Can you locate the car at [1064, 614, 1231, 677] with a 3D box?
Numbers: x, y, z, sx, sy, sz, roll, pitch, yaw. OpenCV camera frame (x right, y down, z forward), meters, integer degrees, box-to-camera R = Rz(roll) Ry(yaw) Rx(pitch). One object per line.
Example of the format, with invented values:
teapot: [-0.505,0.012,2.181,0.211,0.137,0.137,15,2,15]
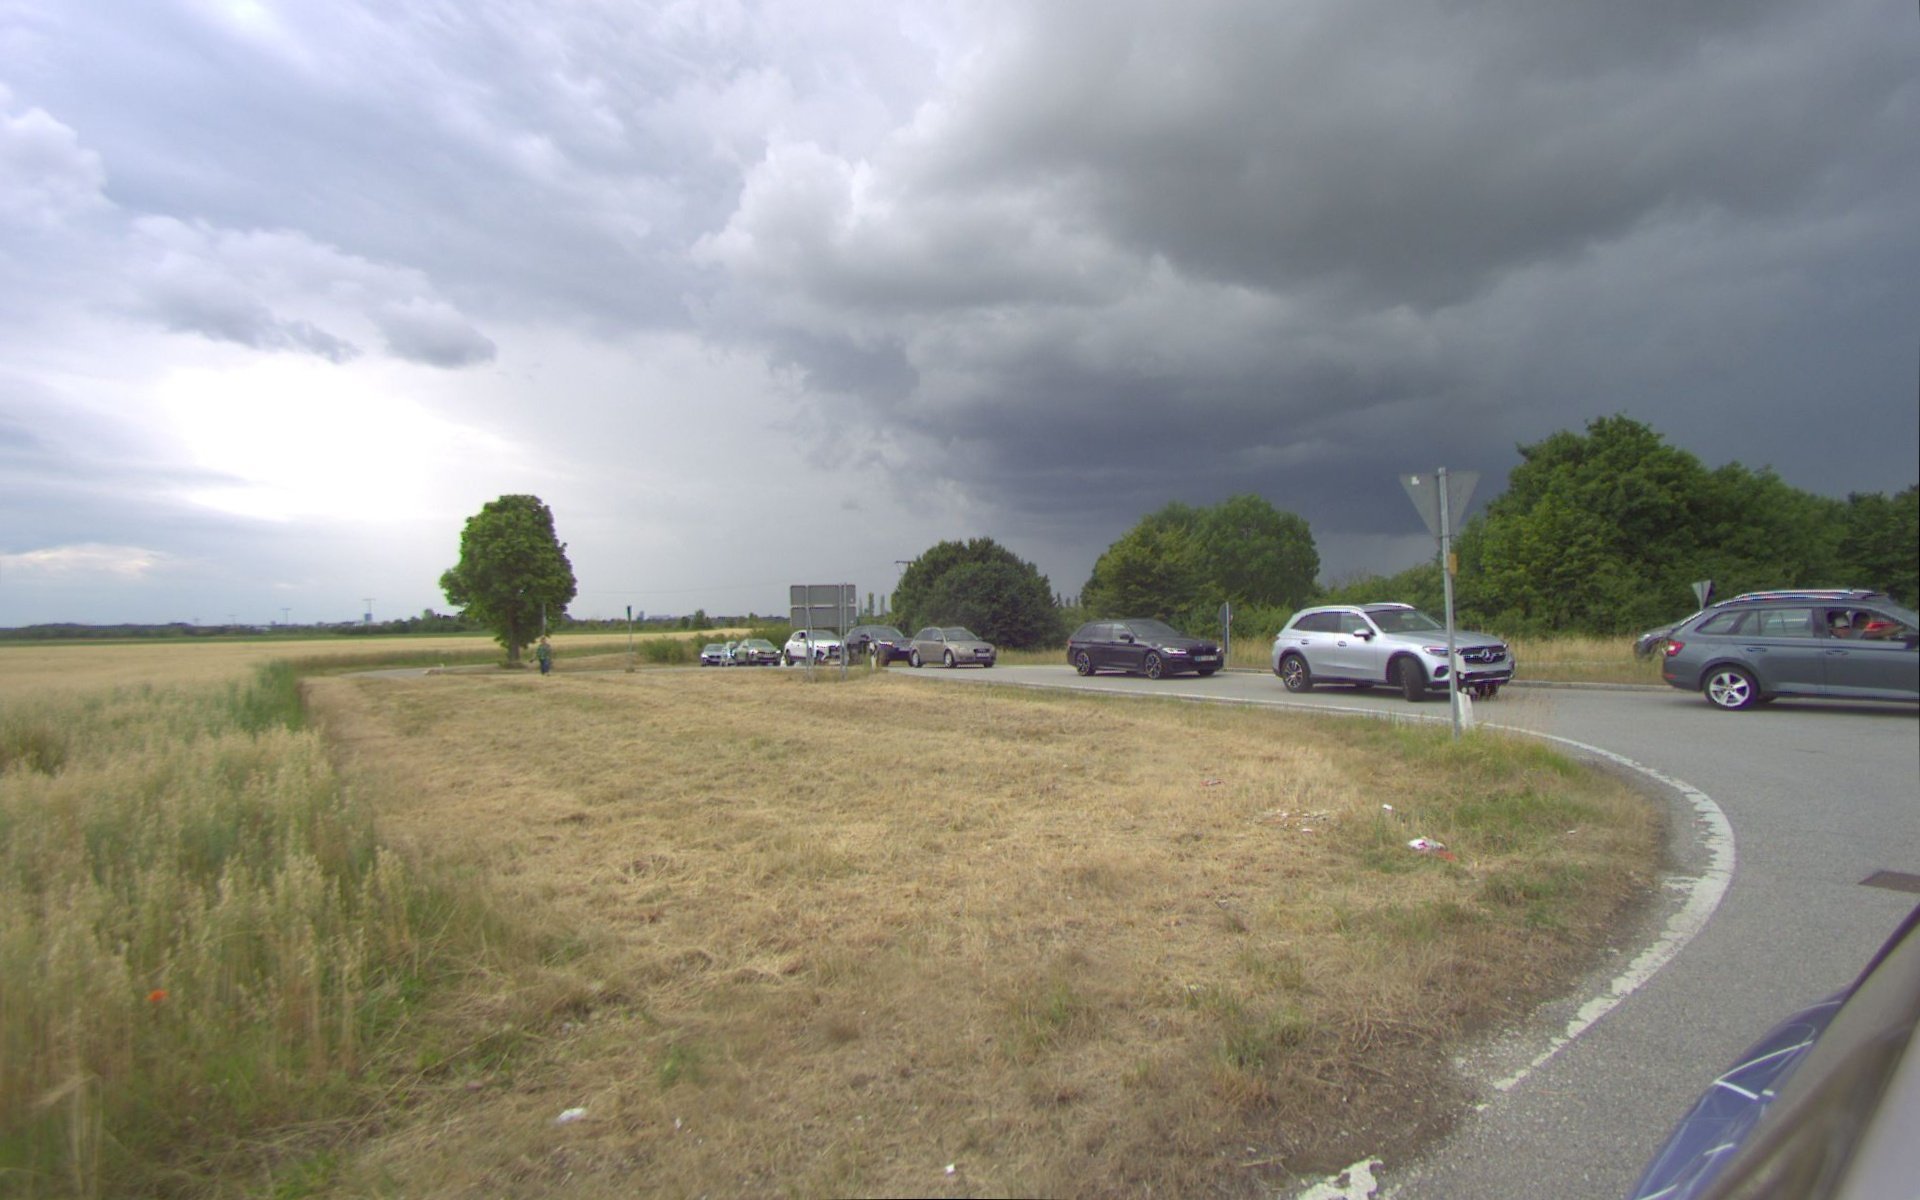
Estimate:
car: [4.677,1.124,25.965,1.687,1.370,4.701,-3,0,-26]

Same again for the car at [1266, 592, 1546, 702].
car: [7.723,0.764,18.052,1.956,1.606,4.402,-3,0,-21]

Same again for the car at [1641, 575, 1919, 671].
car: [16.230,0.391,19.987,1.720,1.679,4.291,0,0,-34]

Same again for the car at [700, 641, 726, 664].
car: [-16.667,3.500,68.259,1.541,1.363,3.505,-1,0,-16]

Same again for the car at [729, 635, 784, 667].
car: [-11.024,2.726,54.629,1.688,1.513,4.218,-3,0,-28]

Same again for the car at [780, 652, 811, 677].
car: [-12.711,4.960,78.348,1.960,1.687,4.426,-1,-1,-4]

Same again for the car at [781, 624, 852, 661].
car: [-6.717,1.944,46.918,1.688,1.513,4.643,-3,0,-28]

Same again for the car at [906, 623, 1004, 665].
car: [-0.255,1.520,35.897,1.687,1.370,4.218,0,-1,-28]

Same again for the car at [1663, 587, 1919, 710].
car: [11.910,0.593,13.238,1.688,1.466,4.112,-2,-1,-39]

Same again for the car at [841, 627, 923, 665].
car: [-3.213,1.814,40.790,1.688,1.370,4.218,-3,0,-28]

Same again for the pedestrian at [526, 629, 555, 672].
pedestrian: [-16.336,1.965,39.406,0.942,1.632,0.761,-3,-2,44]
